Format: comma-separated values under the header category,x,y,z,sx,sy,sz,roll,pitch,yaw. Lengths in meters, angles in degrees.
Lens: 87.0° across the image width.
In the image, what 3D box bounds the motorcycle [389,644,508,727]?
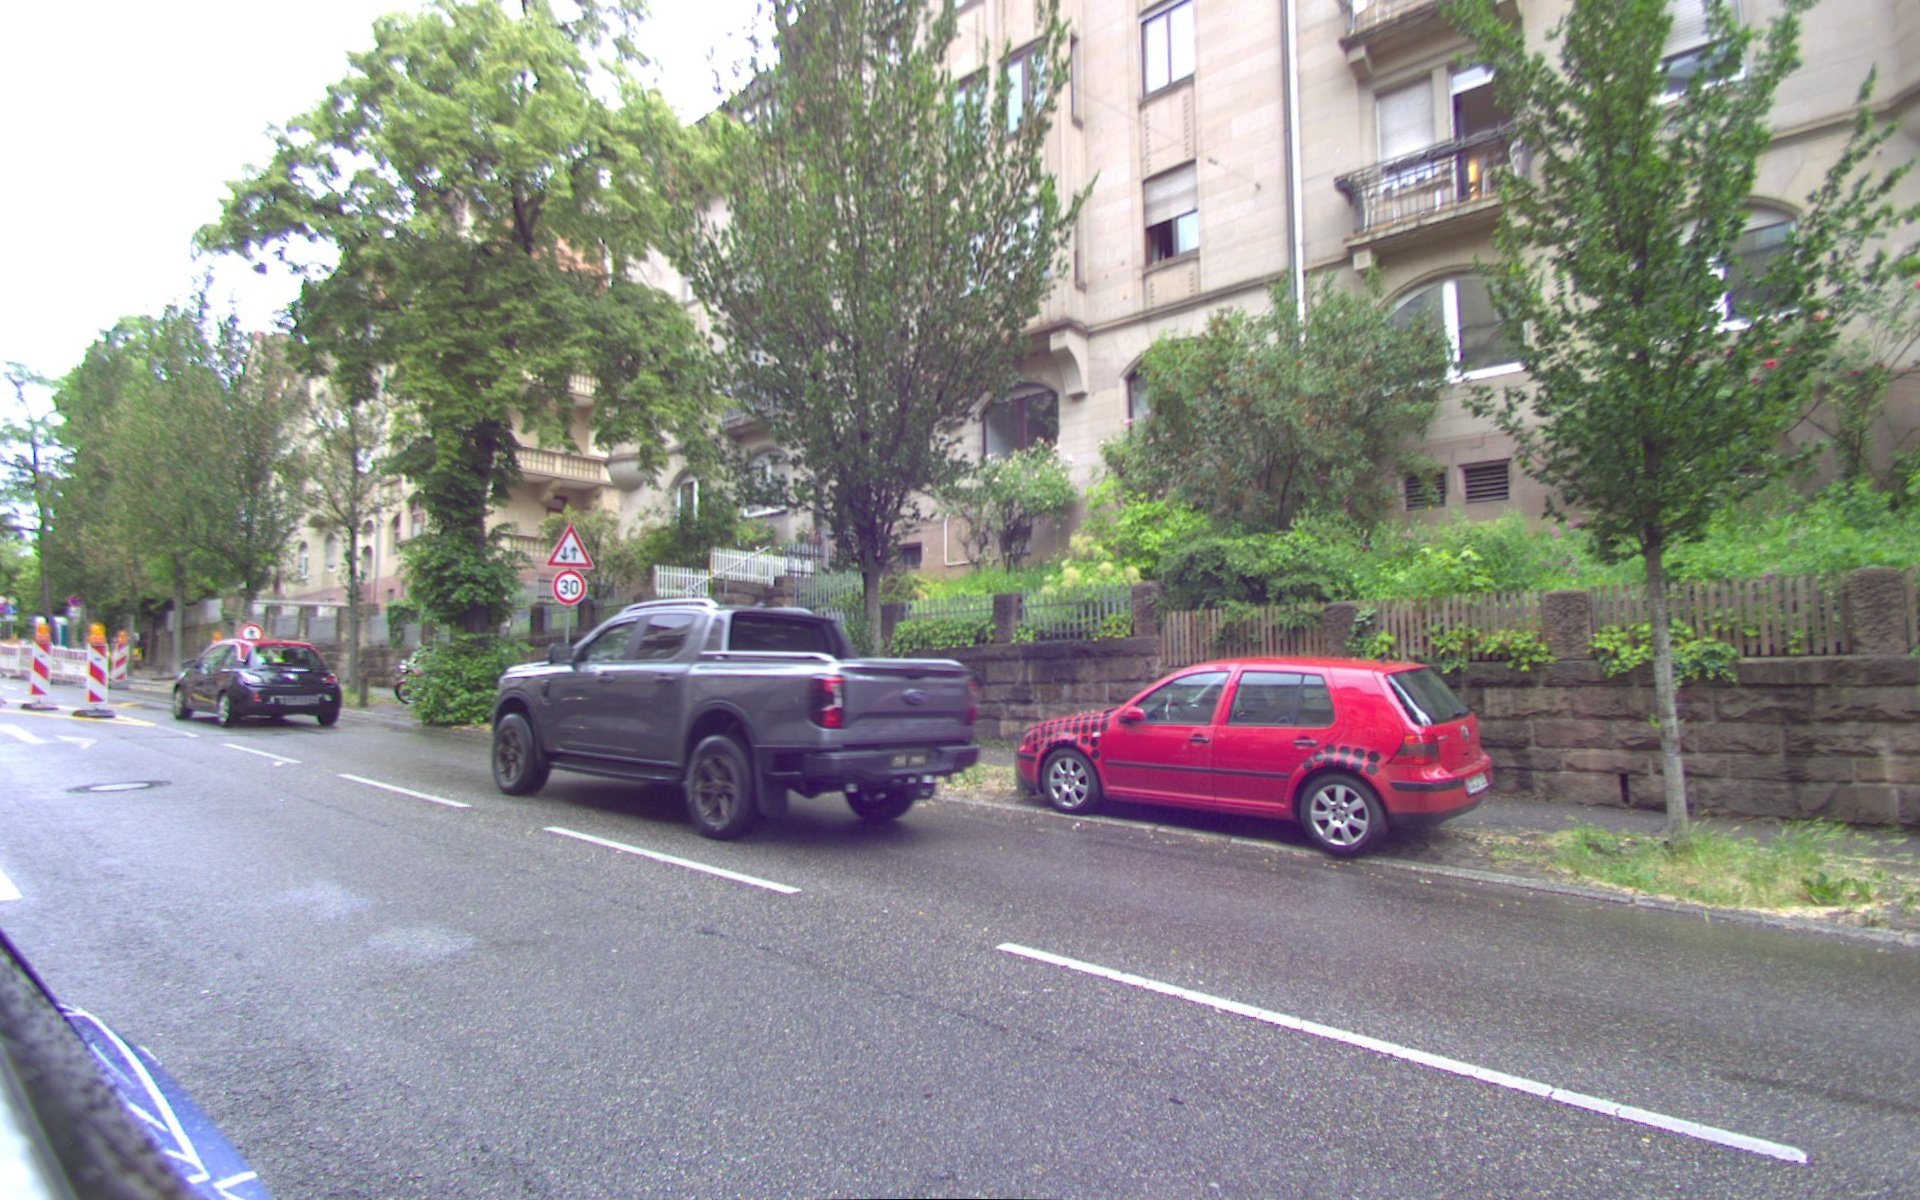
category,x,y,z,sx,sy,sz,roll,pitch,yaw
motorcycle,-9.724,1.571,19.159,3.058,1.425,0.792,-2,-2,38

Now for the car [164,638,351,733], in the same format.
category,x,y,z,sx,sy,sz,roll,pitch,yaw
car,-12.285,1.449,17.630,3.652,1.483,1.649,-2,-6,39

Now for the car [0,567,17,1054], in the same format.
category,x,y,z,sx,sy,sz,roll,pitch,yaw
car,-5.371,0.767,4.133,4.520,1.685,1.799,-2,-3,42

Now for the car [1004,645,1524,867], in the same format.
category,x,y,z,sx,sy,sz,roll,pitch,yaw
car,2.458,1.142,8.844,4.062,1.462,1.596,-2,-3,42

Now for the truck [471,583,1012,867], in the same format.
category,x,y,z,sx,sy,sz,roll,pitch,yaw
truck,-2.194,0.957,9.103,5.150,1.850,2.049,-2,-5,41

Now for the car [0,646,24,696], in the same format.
category,x,y,z,sx,sy,sz,roll,pitch,yaw
car,-31.109,2.188,31.914,4.316,1.523,1.885,-2,-5,42
